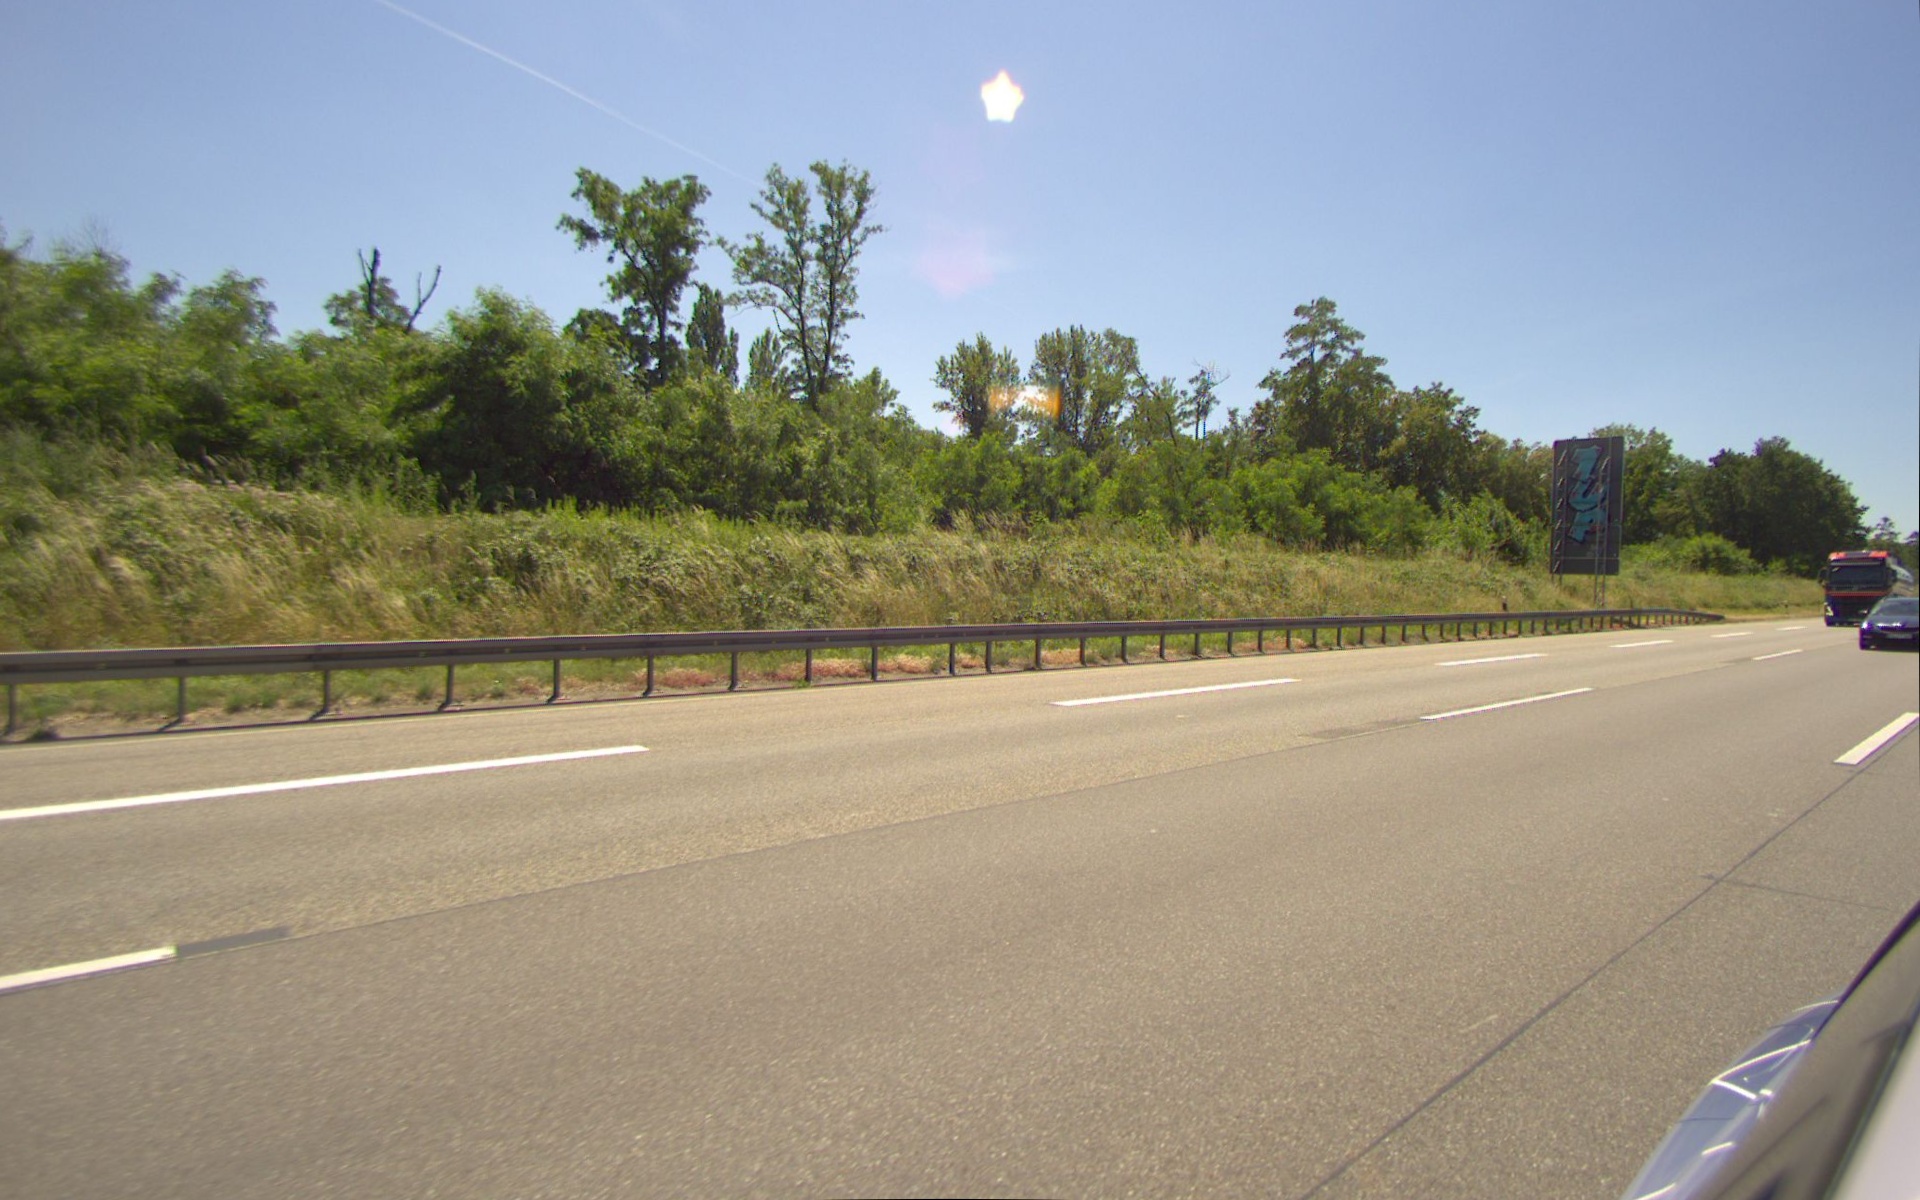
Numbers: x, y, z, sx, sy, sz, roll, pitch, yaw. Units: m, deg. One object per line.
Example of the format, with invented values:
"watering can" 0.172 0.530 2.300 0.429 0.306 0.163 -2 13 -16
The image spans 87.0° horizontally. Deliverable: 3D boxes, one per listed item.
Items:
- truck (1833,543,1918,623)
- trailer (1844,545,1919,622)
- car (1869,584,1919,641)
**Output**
"truck" 45.951 -0.814 50.746 5.993 3.781 2.533 0 0 -41
"trailer" 50.346 -0.842 54.628 11.348 3.781 2.533 0 0 -41
"car" 26.722 0.326 28.092 4.198 1.502 1.804 0 0 -42
